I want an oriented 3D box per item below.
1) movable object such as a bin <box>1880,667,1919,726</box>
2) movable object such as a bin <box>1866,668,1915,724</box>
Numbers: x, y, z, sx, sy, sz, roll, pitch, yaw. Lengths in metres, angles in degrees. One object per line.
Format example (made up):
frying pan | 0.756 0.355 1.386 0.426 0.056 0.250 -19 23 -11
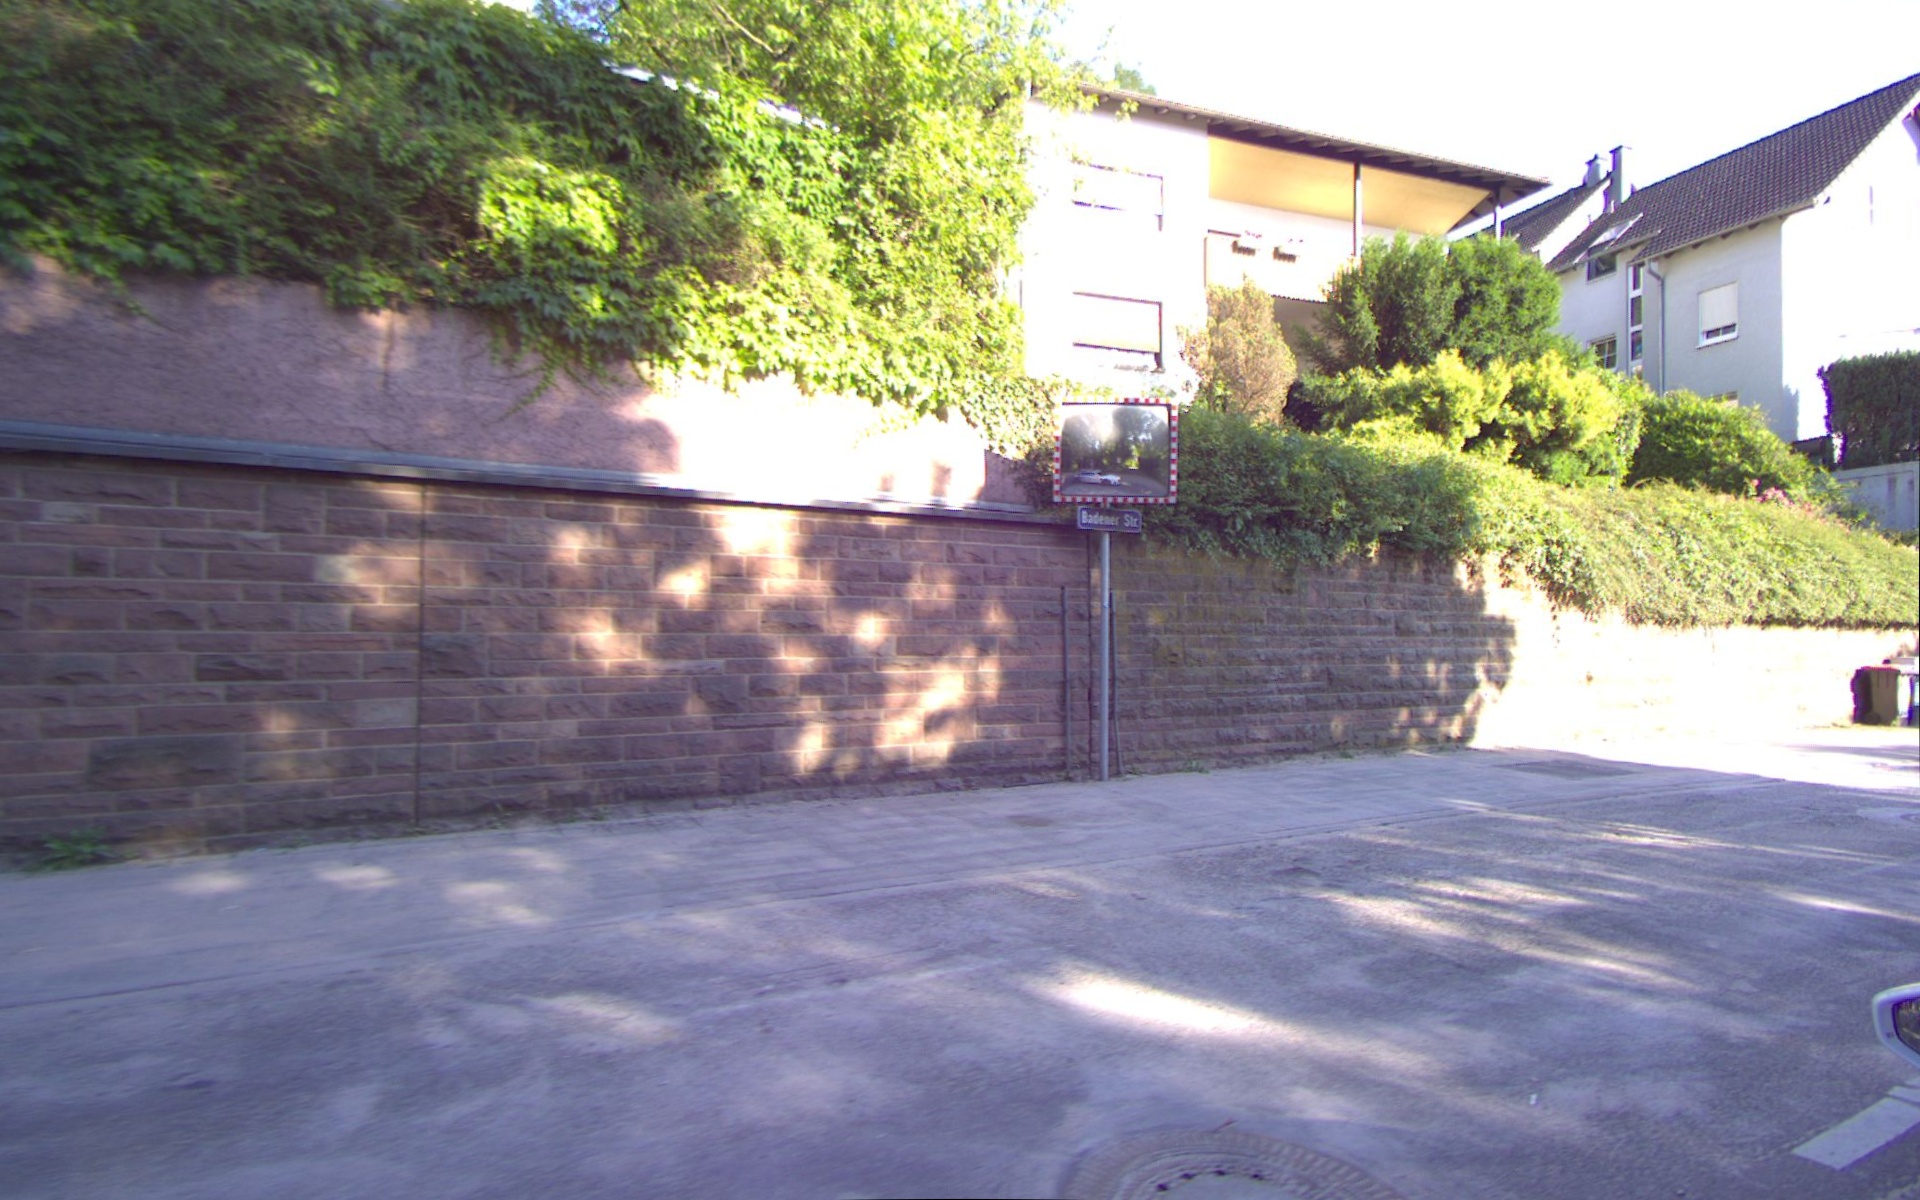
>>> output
movable object such as a bin | 15.064 1.522 16.000 0.494 0.895 0.455 1 -1 -24
movable object such as a bin | 14.641 1.502 15.809 0.387 0.845 0.453 1 -1 -25
